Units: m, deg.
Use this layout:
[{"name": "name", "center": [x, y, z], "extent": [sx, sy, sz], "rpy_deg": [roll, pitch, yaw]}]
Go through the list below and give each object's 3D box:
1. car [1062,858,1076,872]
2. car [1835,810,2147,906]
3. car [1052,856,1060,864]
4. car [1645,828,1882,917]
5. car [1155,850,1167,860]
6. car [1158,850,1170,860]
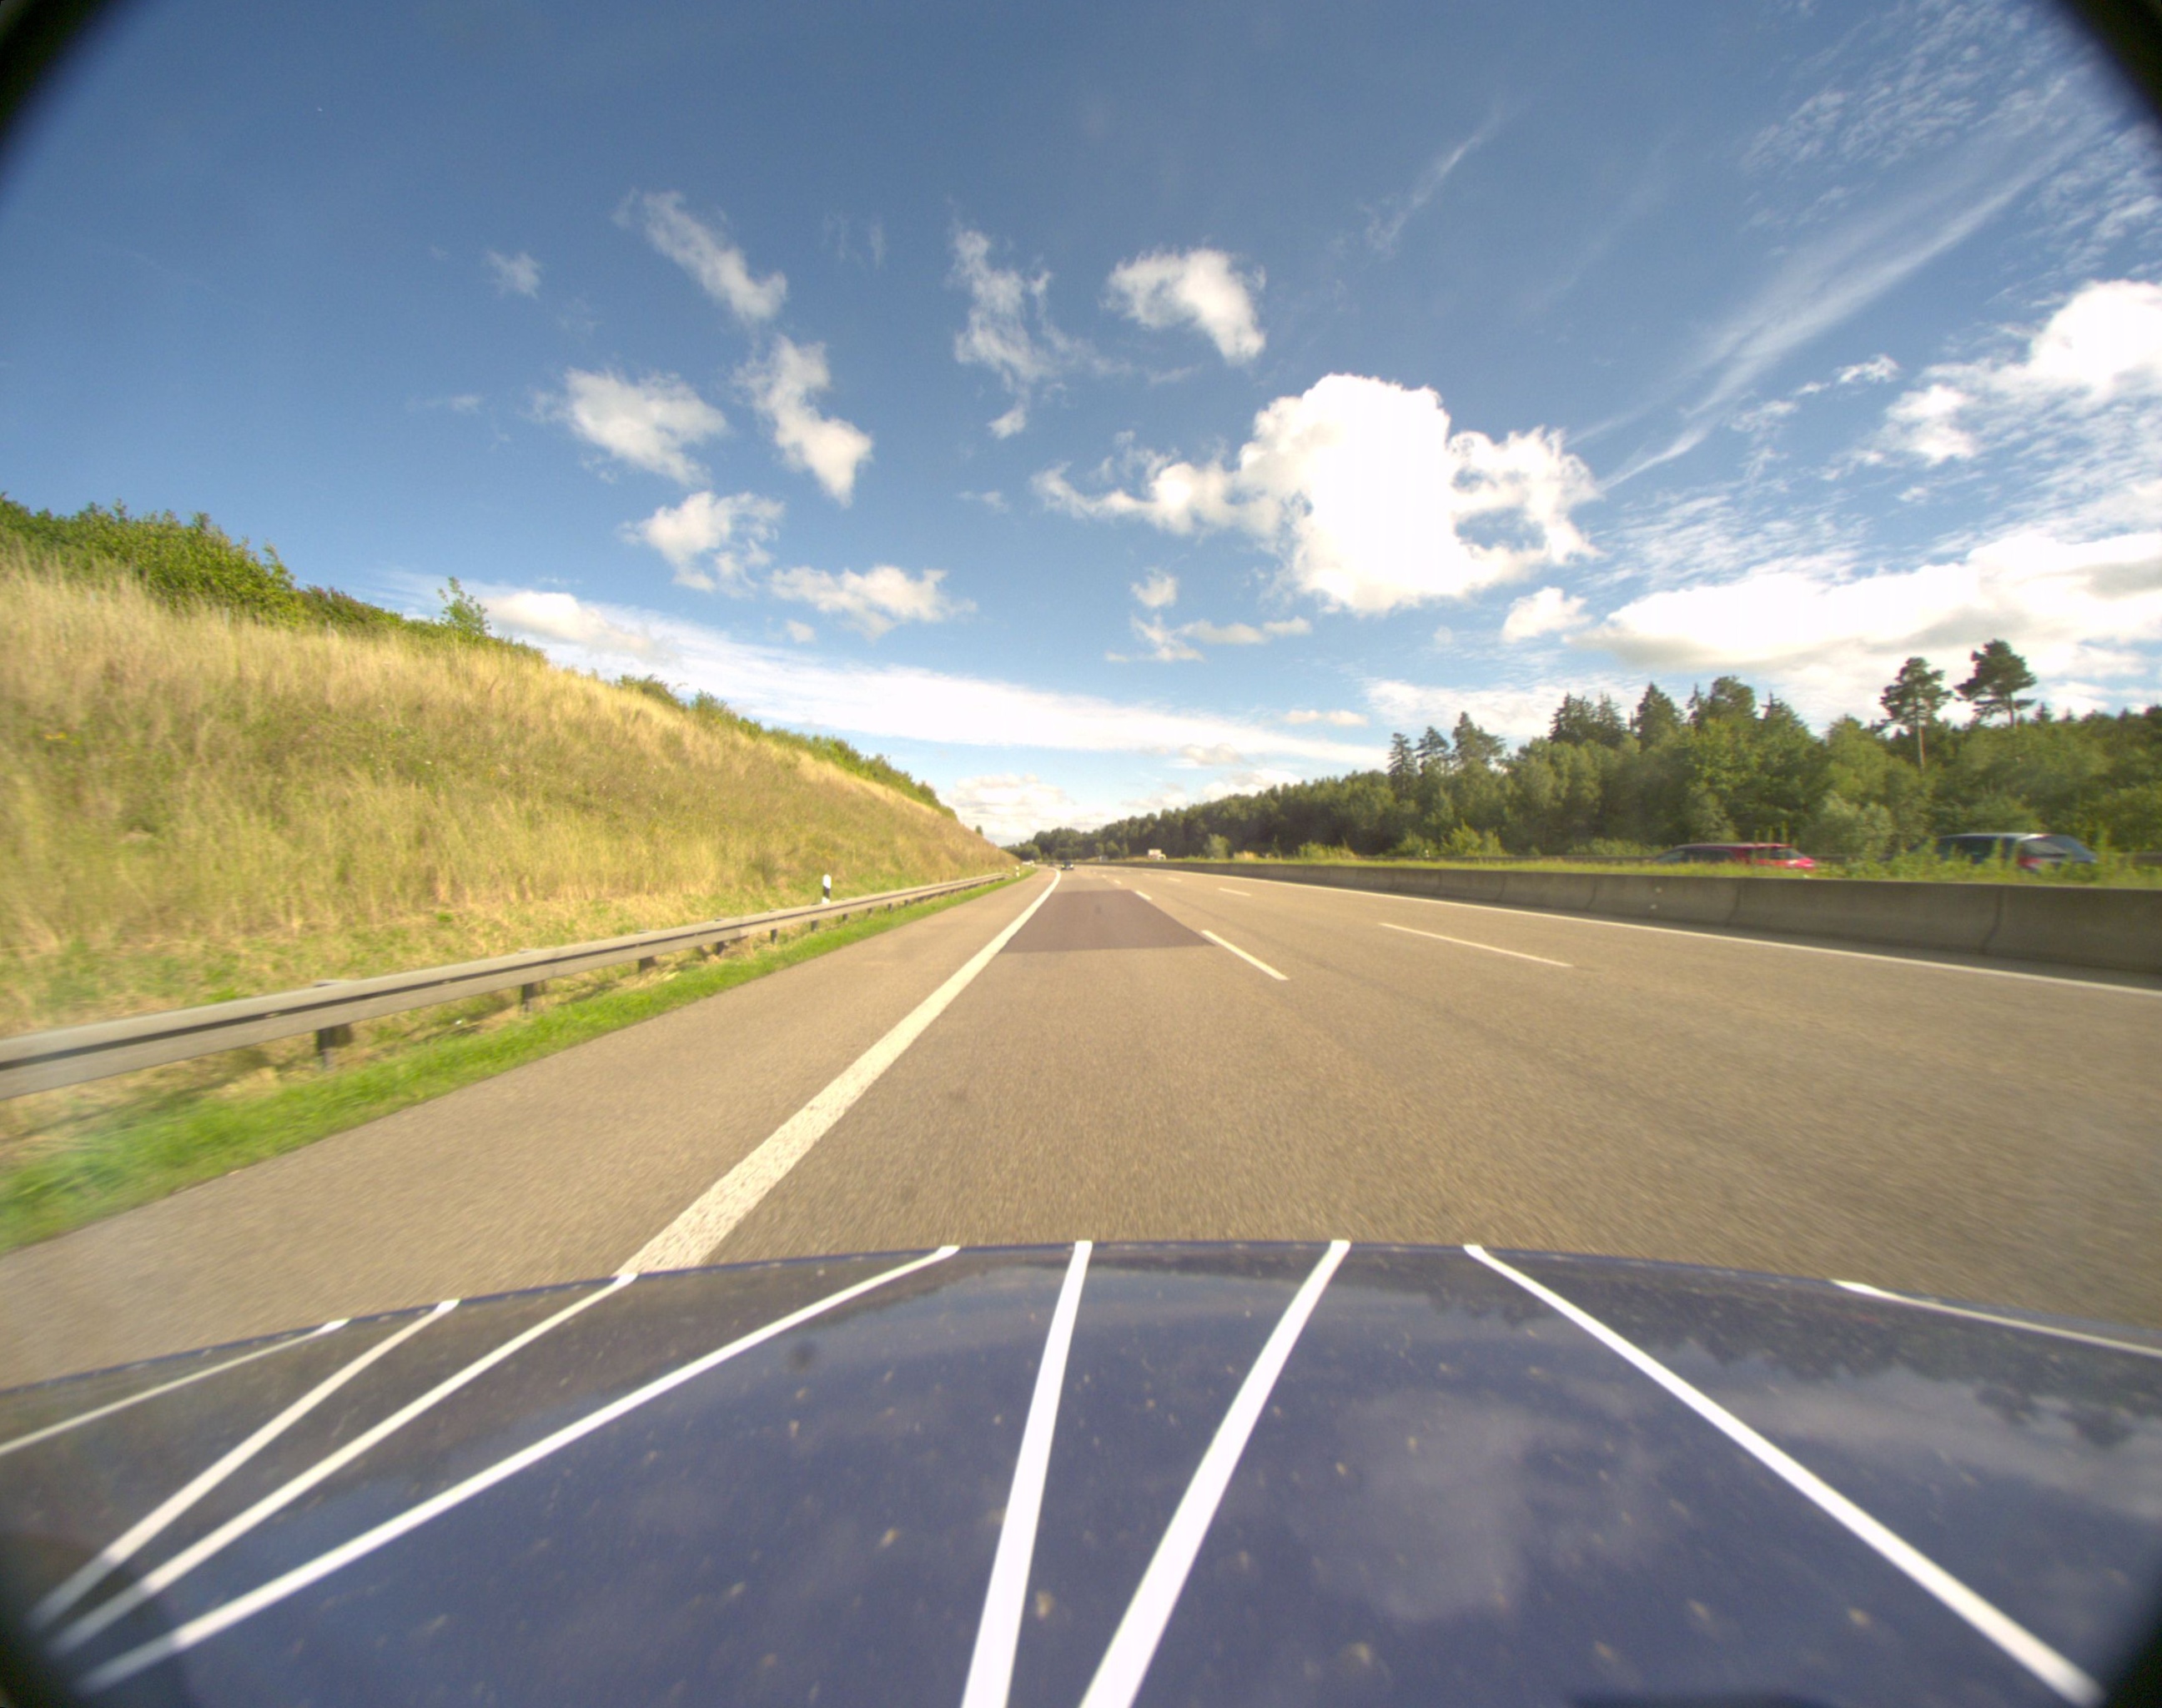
[{"name": "car", "center": [-1.875, 1.610, 113.916], "extent": [1.999, 1.827, 3.999], "rpy_deg": [-2, 1, -2]}, {"name": "car", "center": [19.444, 0.077, 16.576], "extent": [1.998, 1.792, 4.000], "rpy_deg": [-2, 0, 1]}, {"name": "car", "center": [-6.792, 1.707, 206.755], "extent": [1.999, 2.002, 3.997], "rpy_deg": [-3, 0, -6]}, {"name": "car", "center": [15.814, 0.393, 17.951], "extent": [1.998, 1.792, 4.000], "rpy_deg": [-2, 0, 1]}, {"name": "car", "center": [18.385, 0.212, 173.854], "extent": [1.999, 2.002, 5.386], "rpy_deg": [-2, 0, -1]}, {"name": "car", "center": [18.457, 0.185, 169.267], "extent": [1.999, 2.002, 5.386], "rpy_deg": [-2, 0, -1]}]
